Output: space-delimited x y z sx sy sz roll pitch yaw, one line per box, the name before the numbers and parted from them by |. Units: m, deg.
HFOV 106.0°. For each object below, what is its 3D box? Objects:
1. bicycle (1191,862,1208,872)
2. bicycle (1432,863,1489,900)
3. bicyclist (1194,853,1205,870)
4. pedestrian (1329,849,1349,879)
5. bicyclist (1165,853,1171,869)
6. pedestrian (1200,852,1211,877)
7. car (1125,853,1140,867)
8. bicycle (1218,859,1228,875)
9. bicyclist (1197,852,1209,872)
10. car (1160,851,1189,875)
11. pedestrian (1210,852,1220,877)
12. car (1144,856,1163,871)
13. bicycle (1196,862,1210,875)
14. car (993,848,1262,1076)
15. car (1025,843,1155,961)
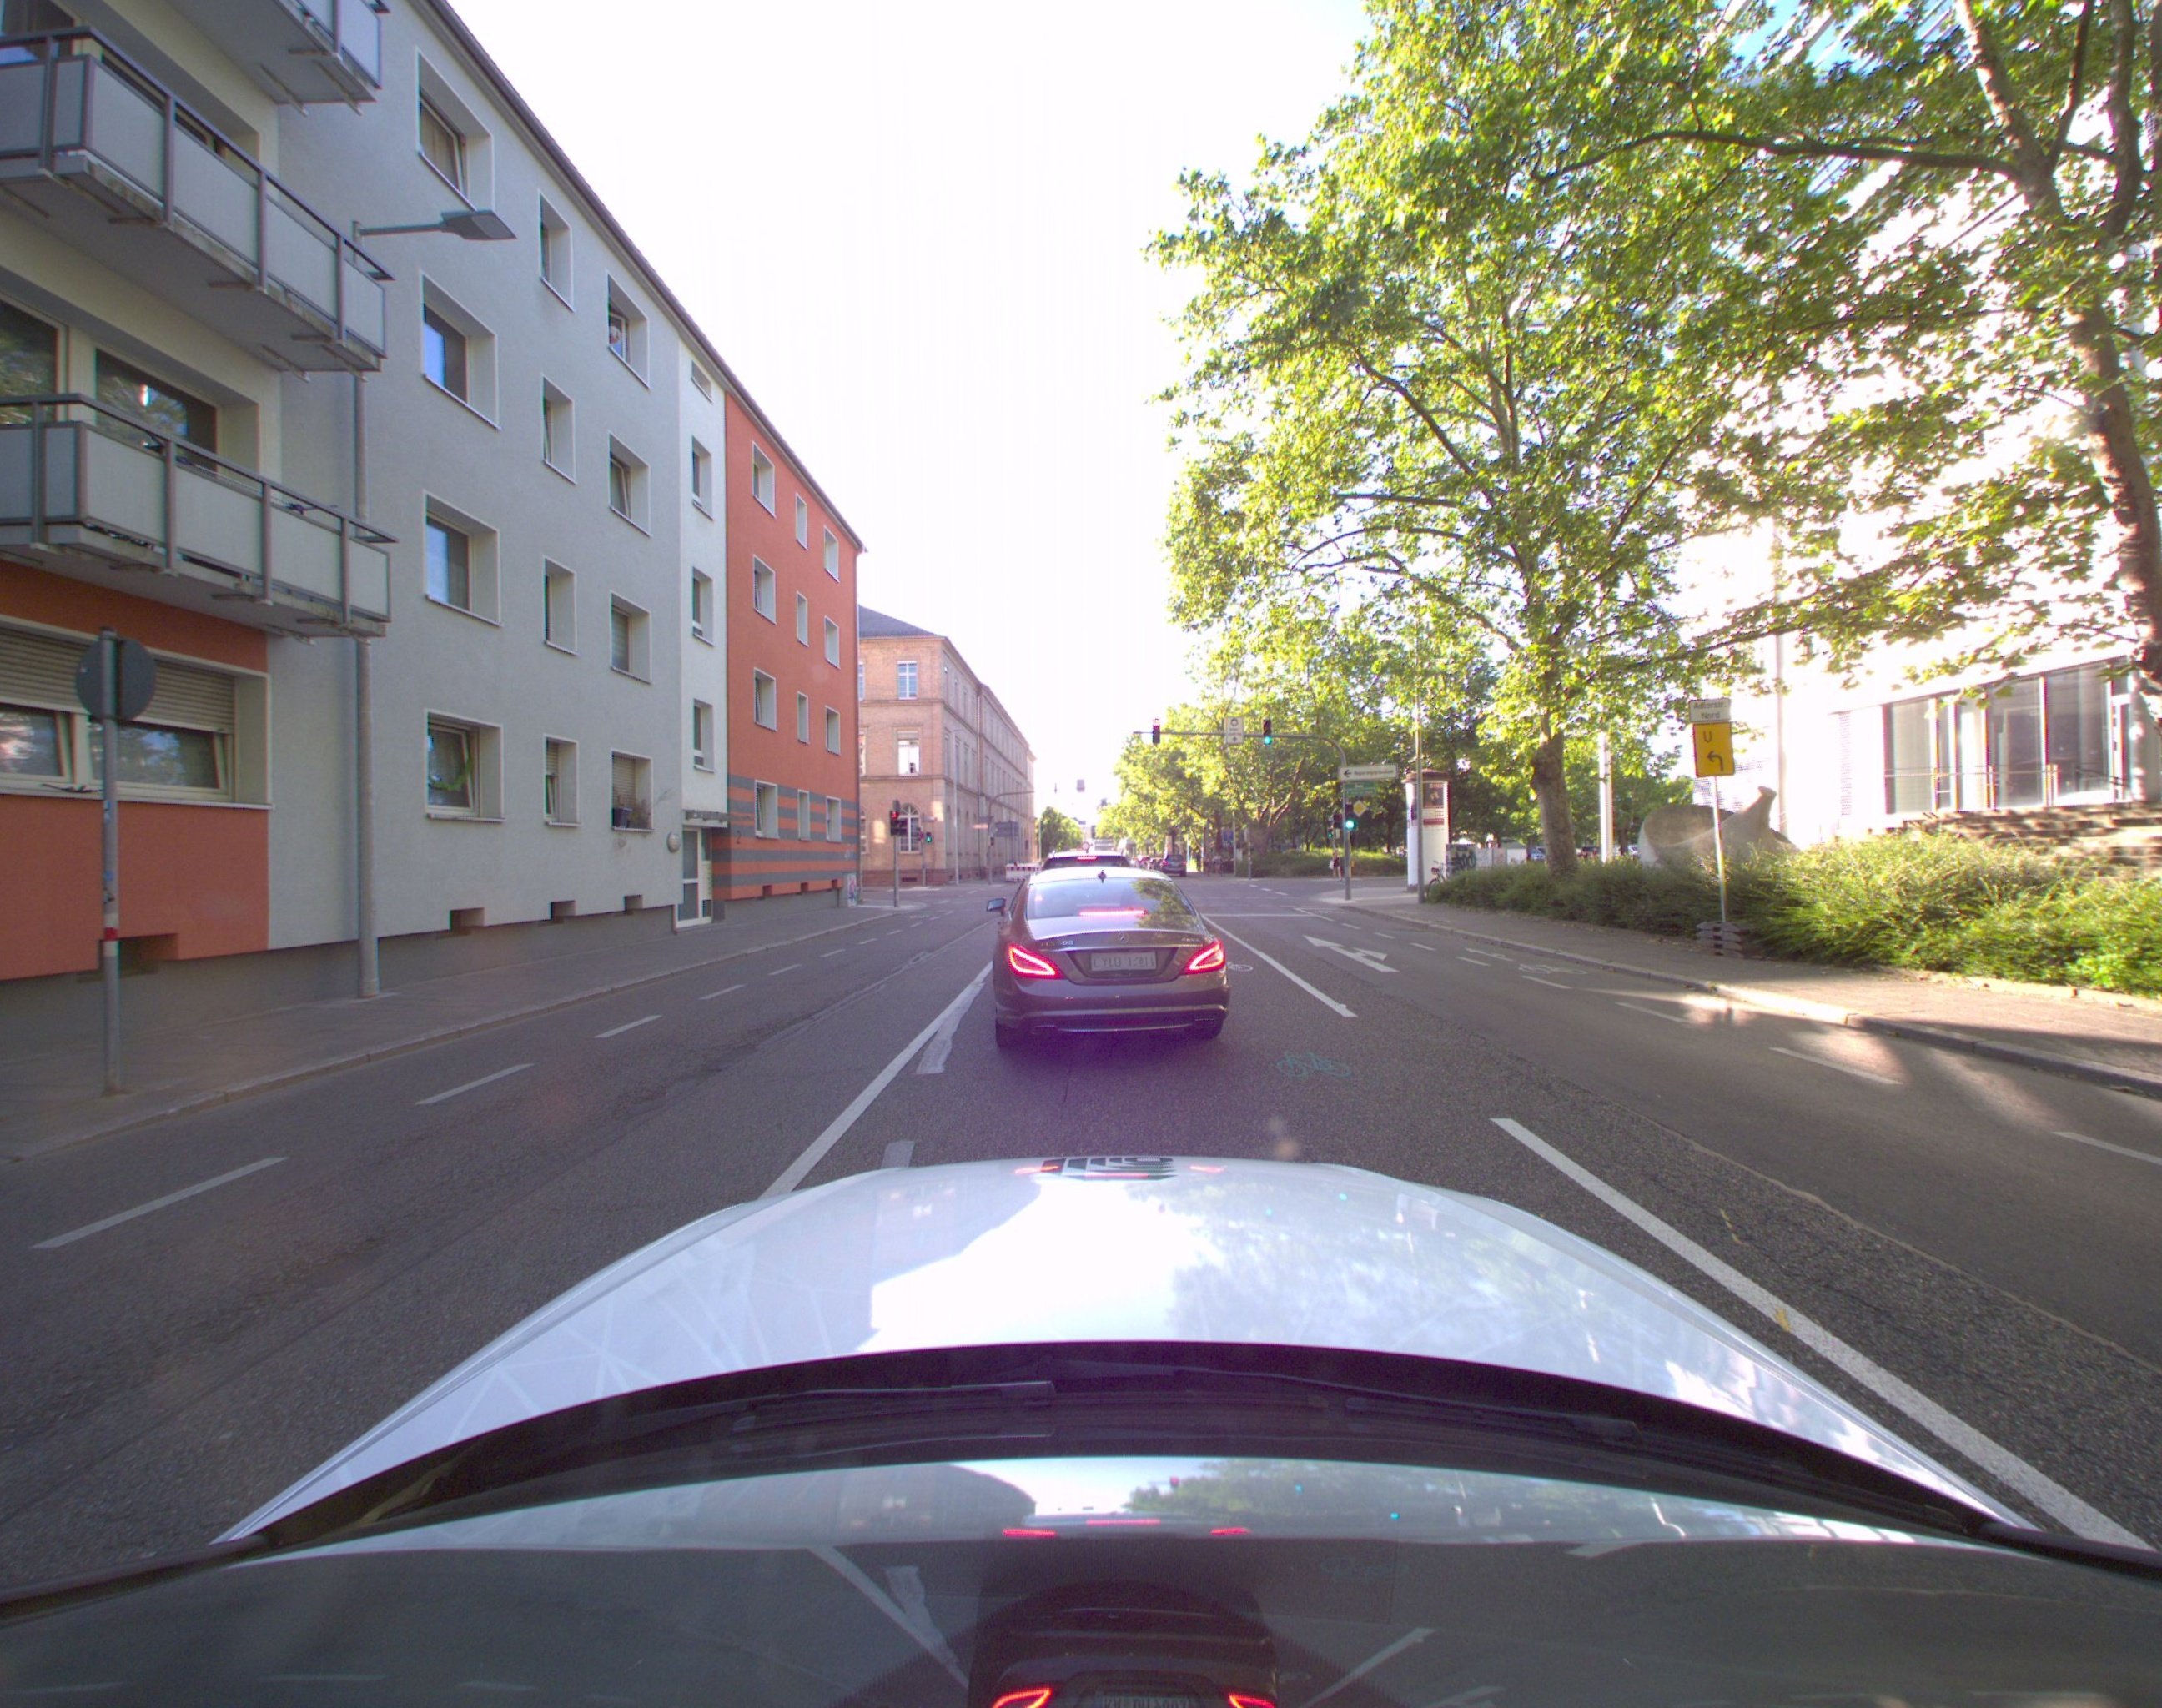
bicycle | 9.921 1.080 67.924 0.716 0.791 1.940 -1 -1 30
bicycle | 10.988 0.777 23.569 1.895 1.028 0.635 0 -1 -36
bicyclist | 9.885 0.653 67.897 0.726 1.398 0.703 -1 -1 30
pedestrian | 13.506 0.514 42.628 0.636 1.545 0.906 0 -1 -13
bicyclist | 11.218 0.845 104.915 0.593 2.039 0.566 0 -1 -3
pedestrian | 9.108 0.750 59.530 0.634 1.797 0.698 0 -1 -2
car | 6.268 0.712 98.884 1.725 1.662 3.682 0 -1 2
bicycle | 10.349 0.944 59.220 0.480 1.202 1.607 0 -1 2
bicyclist | 9.629 0.631 64.350 0.822 1.618 0.958 0 -1 1
car | 7.166 0.678 62.872 1.854 1.764 4.483 -1 0 2
pedestrian | 9.806 0.766 59.582 0.634 1.760 0.698 0 -1 -2
car | 7.500 0.992 84.497 1.698 1.519 4.002 -1 0 2
bicycle | 9.635 1.134 64.397 0.825 0.924 2.618 0 -1 2
car | 0.148 0.735 7.595 1.859 1.519 3.992 -1 0 -6
car | 0.196 0.694 13.730 1.854 1.682 4.002 -1 0 2
